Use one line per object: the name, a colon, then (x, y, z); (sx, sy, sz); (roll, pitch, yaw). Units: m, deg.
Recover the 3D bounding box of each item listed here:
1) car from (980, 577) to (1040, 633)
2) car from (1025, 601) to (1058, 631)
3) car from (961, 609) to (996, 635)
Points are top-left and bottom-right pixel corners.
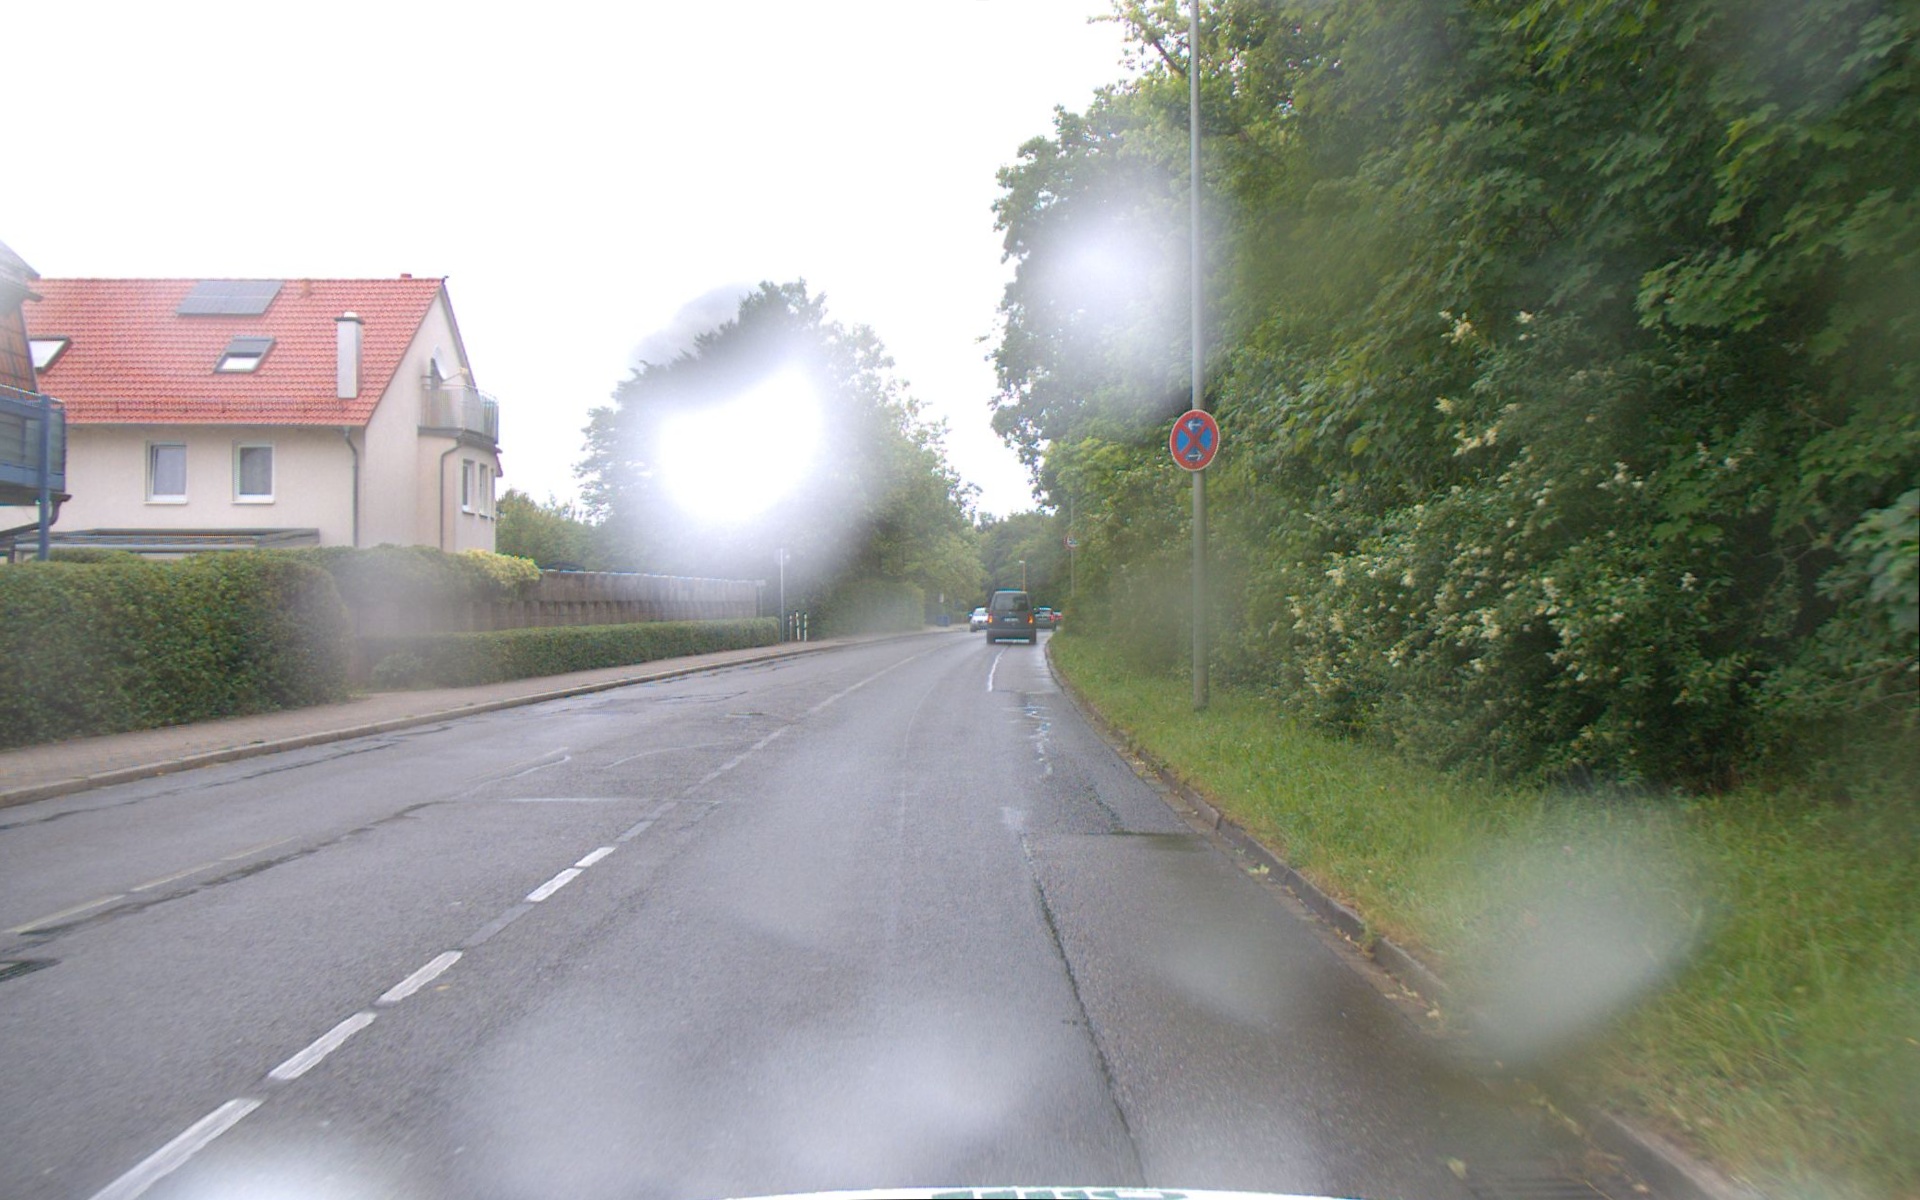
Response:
car: (1.816, 0.149, 59.340); (1.952, 1.825, 4.003); (2, 1, 4)
car: (5.248, 0.982, 105.852); (1.909, 1.780, 4.003); (-1, 1, 6)
car: (1.172, 1.316, 102.015); (1.952, 1.445, 4.487); (-2, 0, 3)
